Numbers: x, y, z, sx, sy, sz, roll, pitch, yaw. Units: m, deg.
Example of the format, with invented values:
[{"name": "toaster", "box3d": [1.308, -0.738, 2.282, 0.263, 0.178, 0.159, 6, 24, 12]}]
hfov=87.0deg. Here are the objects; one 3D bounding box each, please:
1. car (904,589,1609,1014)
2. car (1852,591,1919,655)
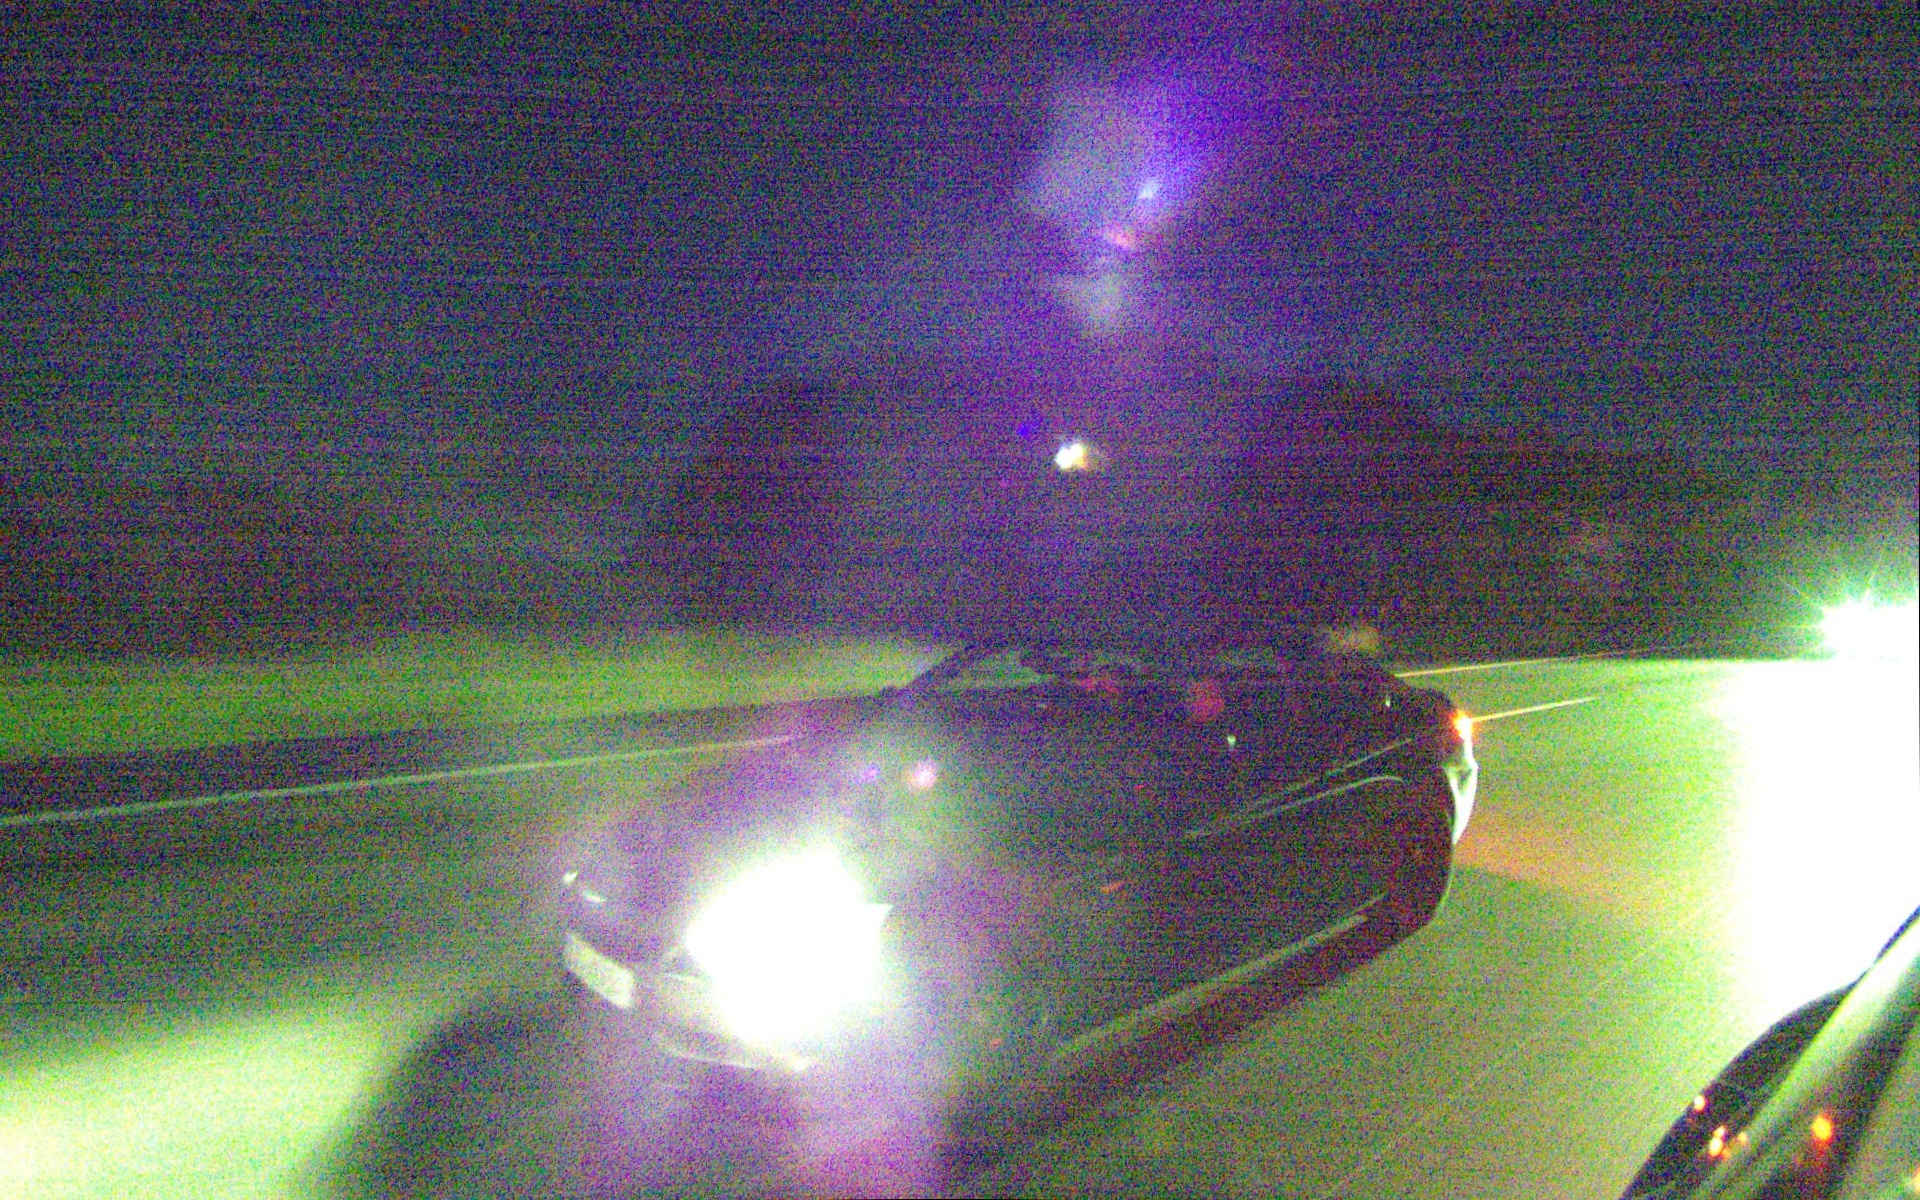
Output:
[{"name": "car", "box3d": [1.857, 0.689, 5.497, 4.151, 1.431, 1.689, 0, 2, -41]}, {"name": "car", "box3d": [25.386, 0.578, 27.013, 4.151, 1.560, 1.794, 0, 2, -41]}]
